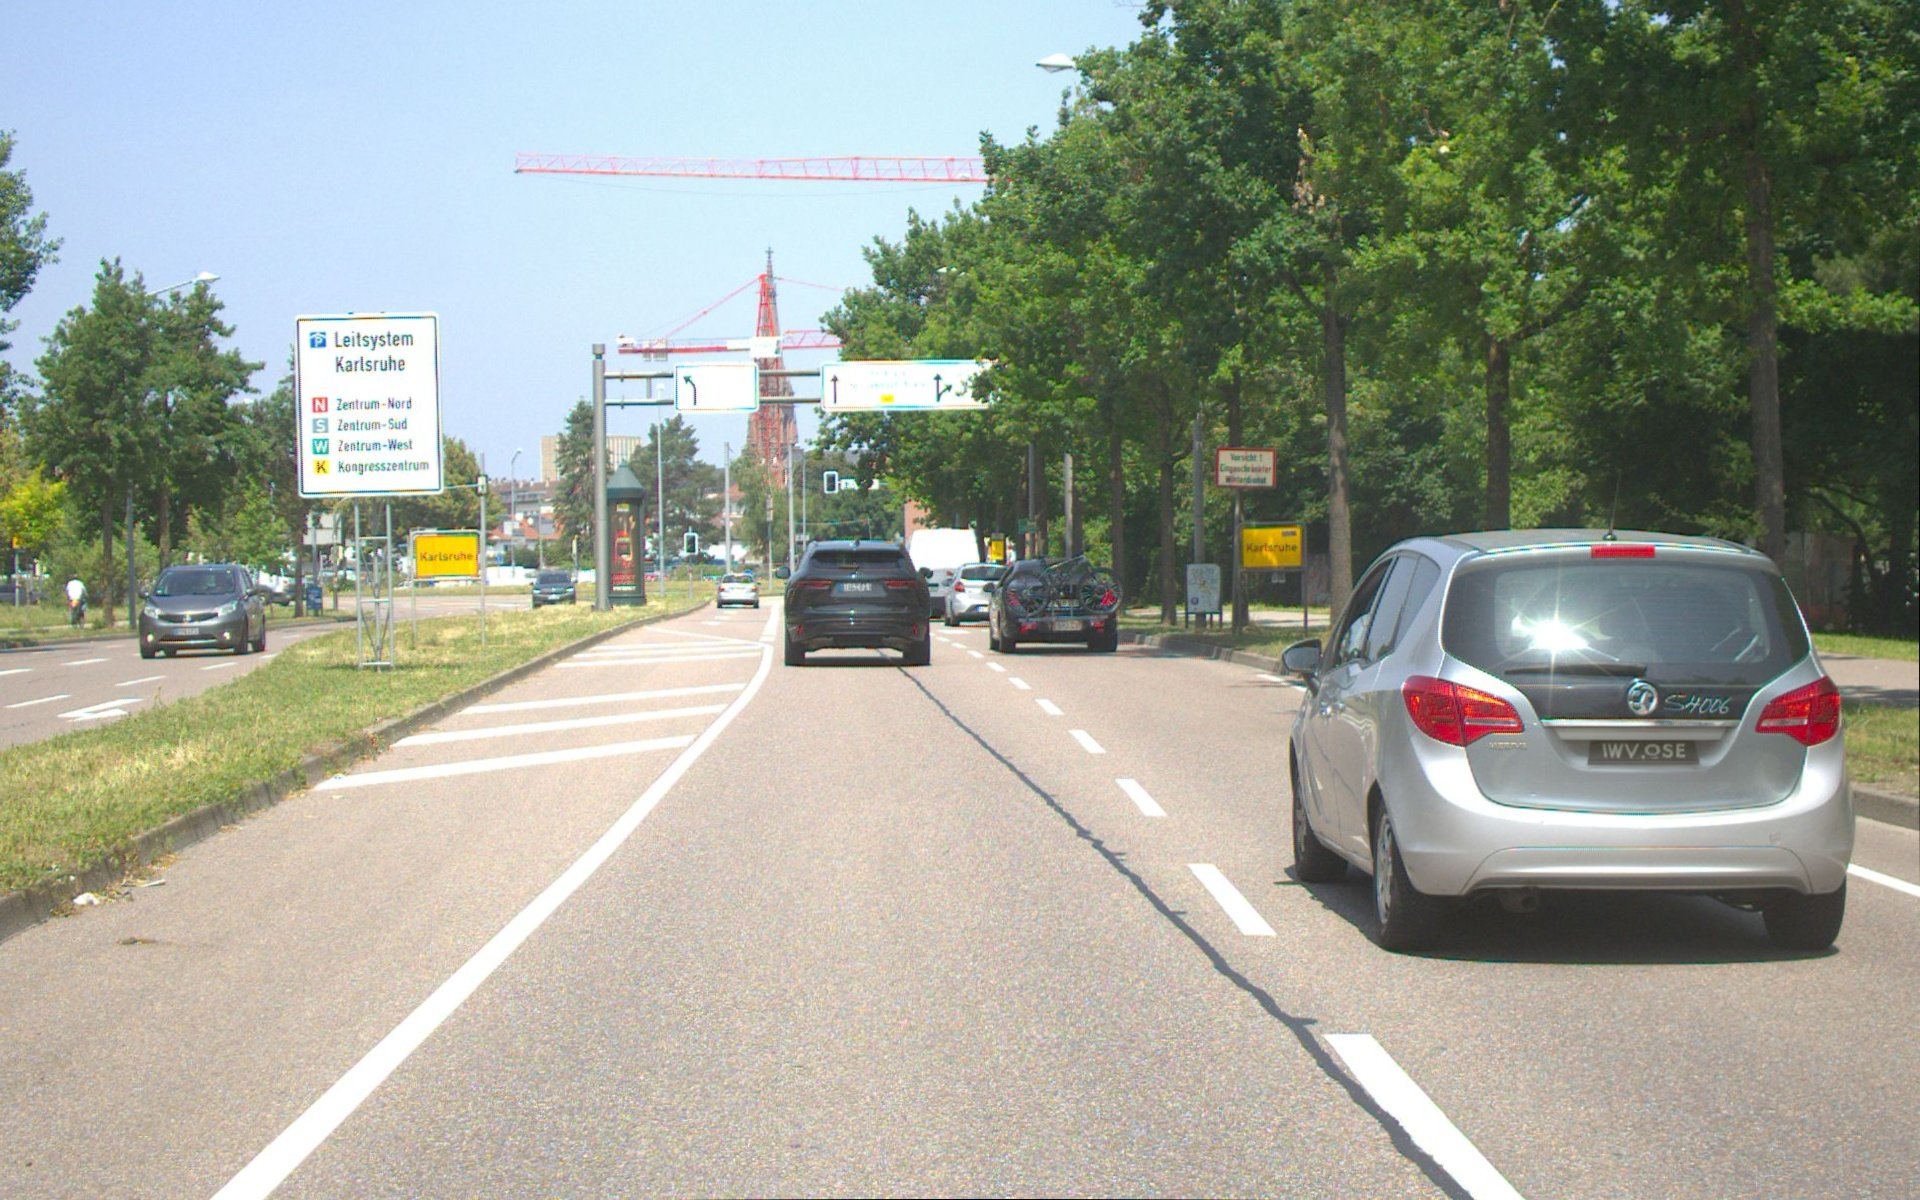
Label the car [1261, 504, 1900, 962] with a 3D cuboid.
[{"bbox_3d":[2.354,0.437,14.039,1.792,1.606,3.891,0,1,-2],"label":"car"}]

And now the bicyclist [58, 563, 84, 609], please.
[{"bbox_3d":[-28.816,-0.450,111.458,0.623,1.484,0.757,-1,1,0],"label":"bicyclist"}]

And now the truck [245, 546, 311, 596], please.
[{"bbox_3d":[-35.262,-1.525,177.924,2.638,2.568,6.319,0,1,-5],"label":"truck"}]

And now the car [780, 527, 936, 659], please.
[{"bbox_3d":[-1.359,-0.124,46.165,1.998,1.684,4.034,0,1,-1],"label":"car"}]

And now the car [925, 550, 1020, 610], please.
[{"bbox_3d":[0.262,-0.478,81.559,1.654,1.351,4.462,-1,1,-7],"label":"car"}]

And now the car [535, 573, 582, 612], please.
[{"bbox_3d":[-17.530,-0.331,150.371,1.892,1.605,4.535,-1,1,-5],"label":"car"}]

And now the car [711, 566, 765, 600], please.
[{"bbox_3d":[-9.194,-0.722,142.223,1.993,1.316,4.001,-1,1,-7],"label":"car"}]

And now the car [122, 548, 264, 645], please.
[{"bbox_3d":[-12.563,-0.093,56.495,1.707,1.467,3.942,-2,1,-5],"label":"car"}]

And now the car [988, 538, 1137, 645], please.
[{"bbox_3d":[1.494,-0.149,51.820,2.014,1.512,4.461,-1,1,-1],"label":"car"}]

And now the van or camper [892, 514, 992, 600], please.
[{"bbox_3d":[-0.535,-1.182,95.287,2.493,2.283,4.921,-1,1,-3],"label":"van or camper"}]

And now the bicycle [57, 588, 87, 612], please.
[{"bbox_3d":[-28.774,0.000,111.416,0.481,0.713,1.850,-1,1,0],"label":"bicycle"}]
